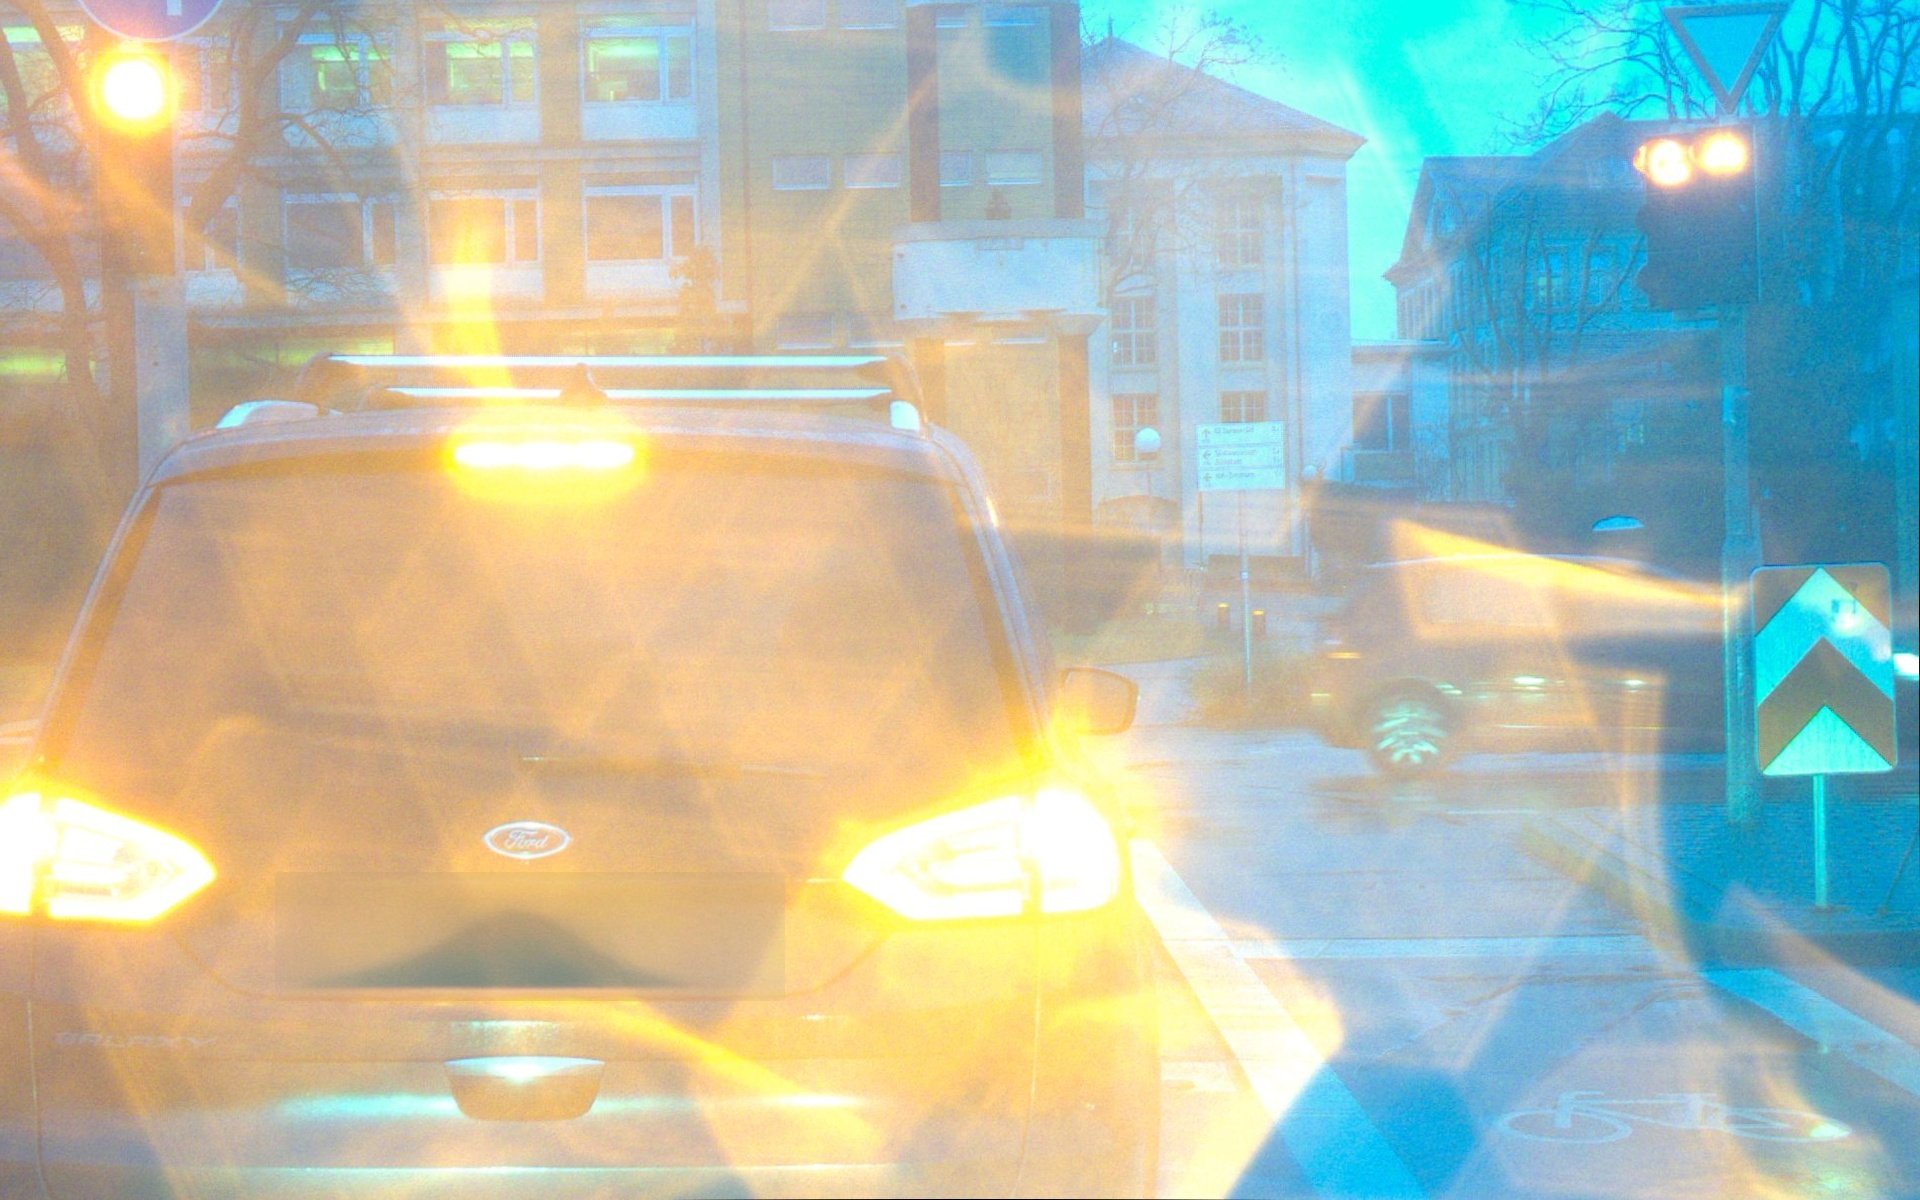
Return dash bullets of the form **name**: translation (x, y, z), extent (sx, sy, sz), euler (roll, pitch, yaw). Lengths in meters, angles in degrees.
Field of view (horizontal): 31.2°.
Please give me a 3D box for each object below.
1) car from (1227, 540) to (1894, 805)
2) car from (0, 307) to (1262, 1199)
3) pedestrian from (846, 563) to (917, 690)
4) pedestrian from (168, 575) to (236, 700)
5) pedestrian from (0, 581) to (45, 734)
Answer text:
- **car**: translation (3.945, 0.468, 22.744), extent (4.125, 1.577, 1.840), euler (-2, 0, 11)
- **car**: translation (-0.629, 0.492, 6.570), extent (1.993, 1.783, 4.000), euler (1, 1, -1)
- **pedestrian**: translation (-1.026, 0.347, 45.137), extent (0.760, 1.622, 0.557), euler (-2, 1, 13)
- **pedestrian**: translation (-10.461, 0.517, 47.456), extent (0.639, 1.682, 0.636), euler (-2, 1, 16)
- **pedestrian**: translation (-12.218, 0.726, 42.826), extent (1.002, 1.836, 1.138), euler (-2, 3, 23)
